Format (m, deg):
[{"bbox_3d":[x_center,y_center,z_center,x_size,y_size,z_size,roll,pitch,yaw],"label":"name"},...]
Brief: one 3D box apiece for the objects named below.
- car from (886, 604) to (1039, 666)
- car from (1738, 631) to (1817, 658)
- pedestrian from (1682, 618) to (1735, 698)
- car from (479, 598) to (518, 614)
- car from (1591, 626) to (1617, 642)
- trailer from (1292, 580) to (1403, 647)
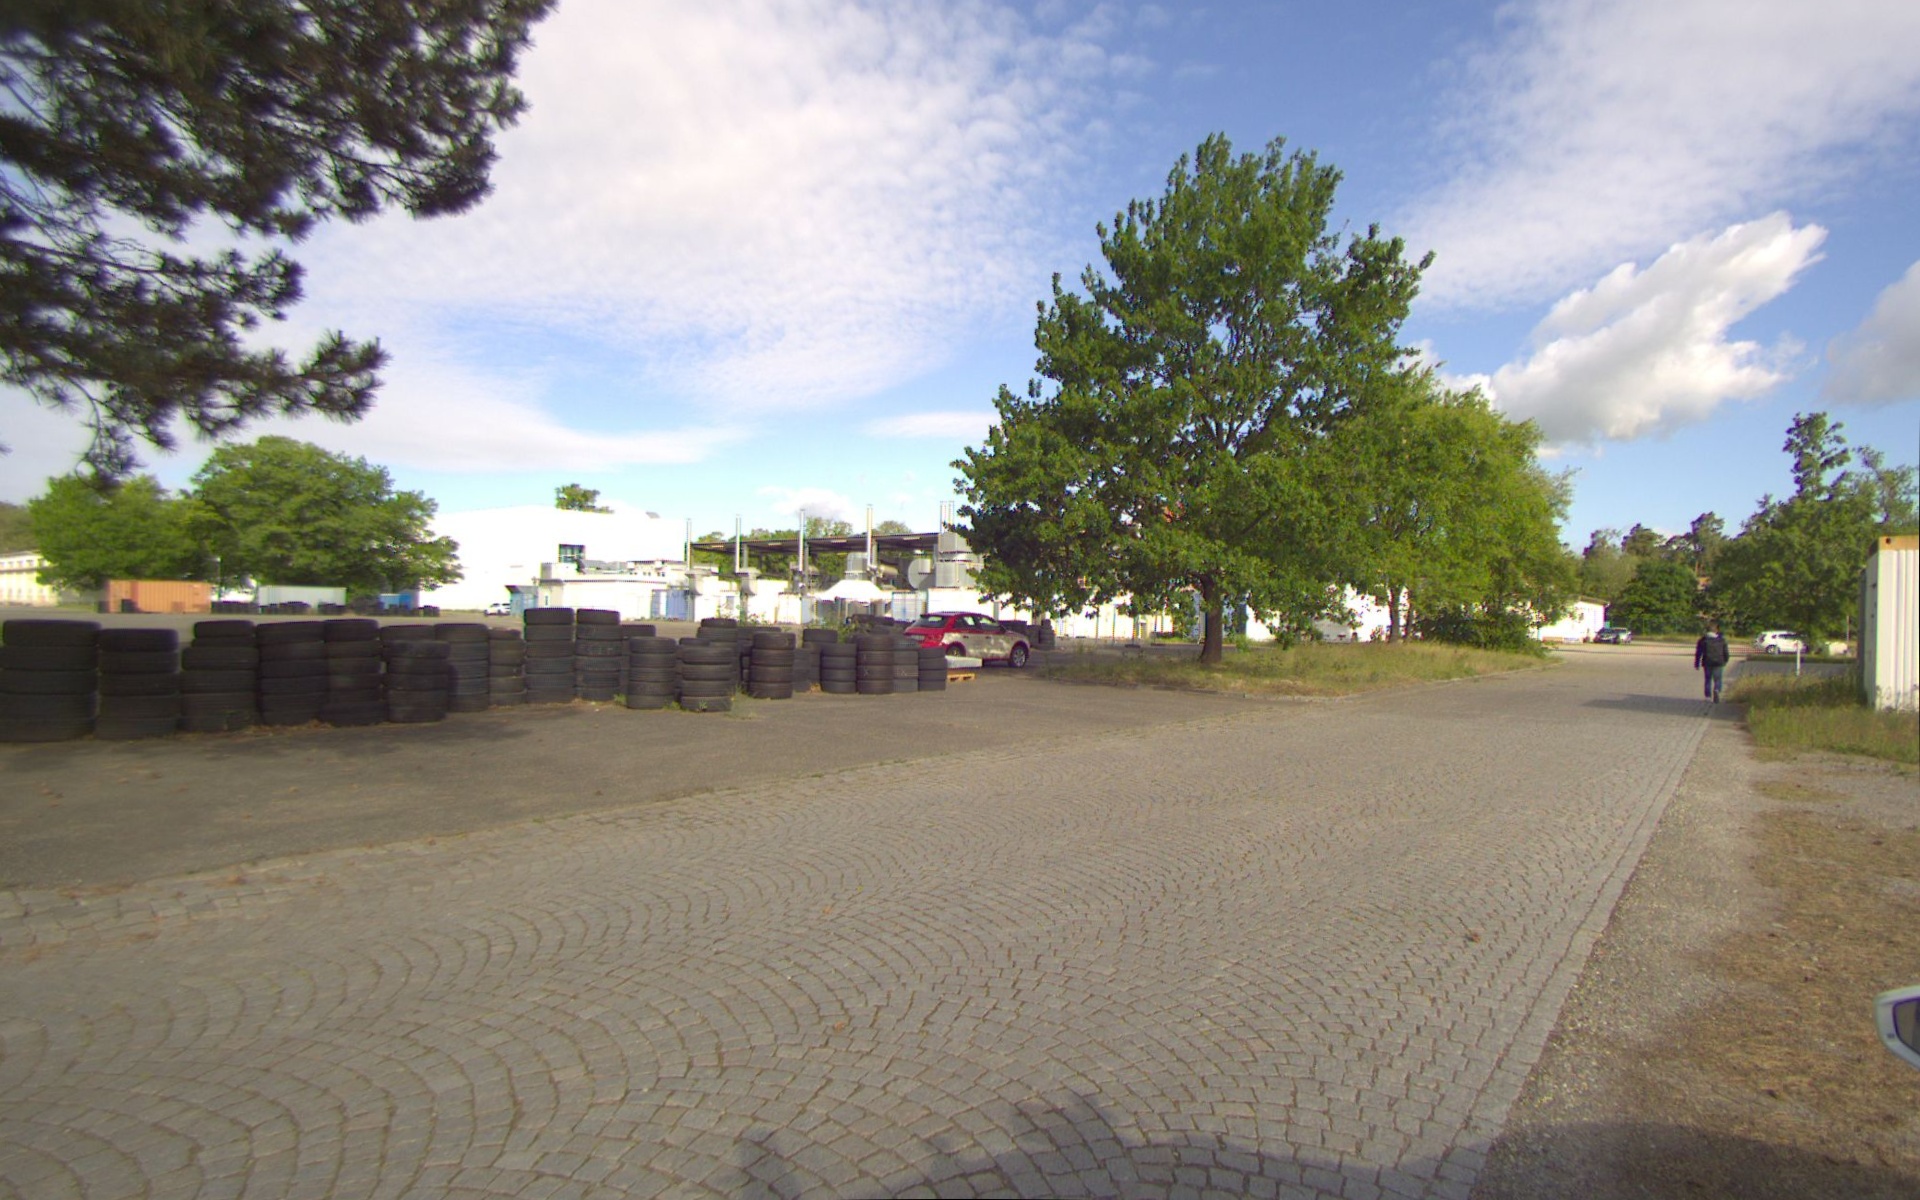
[{"bbox_3d":[0.127,0.915,26.458,1.705,1.483,3.975,1,-1,45],"label":"car"},{"bbox_3d":[54.387,2.940,66.848,3.945,1.665,1.988,1,-1,44],"label":"car"},{"bbox_3d":[15.606,1.190,20.959,0.854,1.579,1.024,1,-1,36],"label":"pedestrian"},{"bbox_3d":[-49.387,0.635,107.406,4.474,1.585,1.868,1,-1,37],"label":"car"},{"bbox_3d":[59.777,3.128,93.327,1.965,1.389,3.991,1,-1,32],"label":"car"},{"bbox_3d":[22.275,0.788,57.377,2.882,3.517,9.855,1,-1,40],"label":"trailer"}]
